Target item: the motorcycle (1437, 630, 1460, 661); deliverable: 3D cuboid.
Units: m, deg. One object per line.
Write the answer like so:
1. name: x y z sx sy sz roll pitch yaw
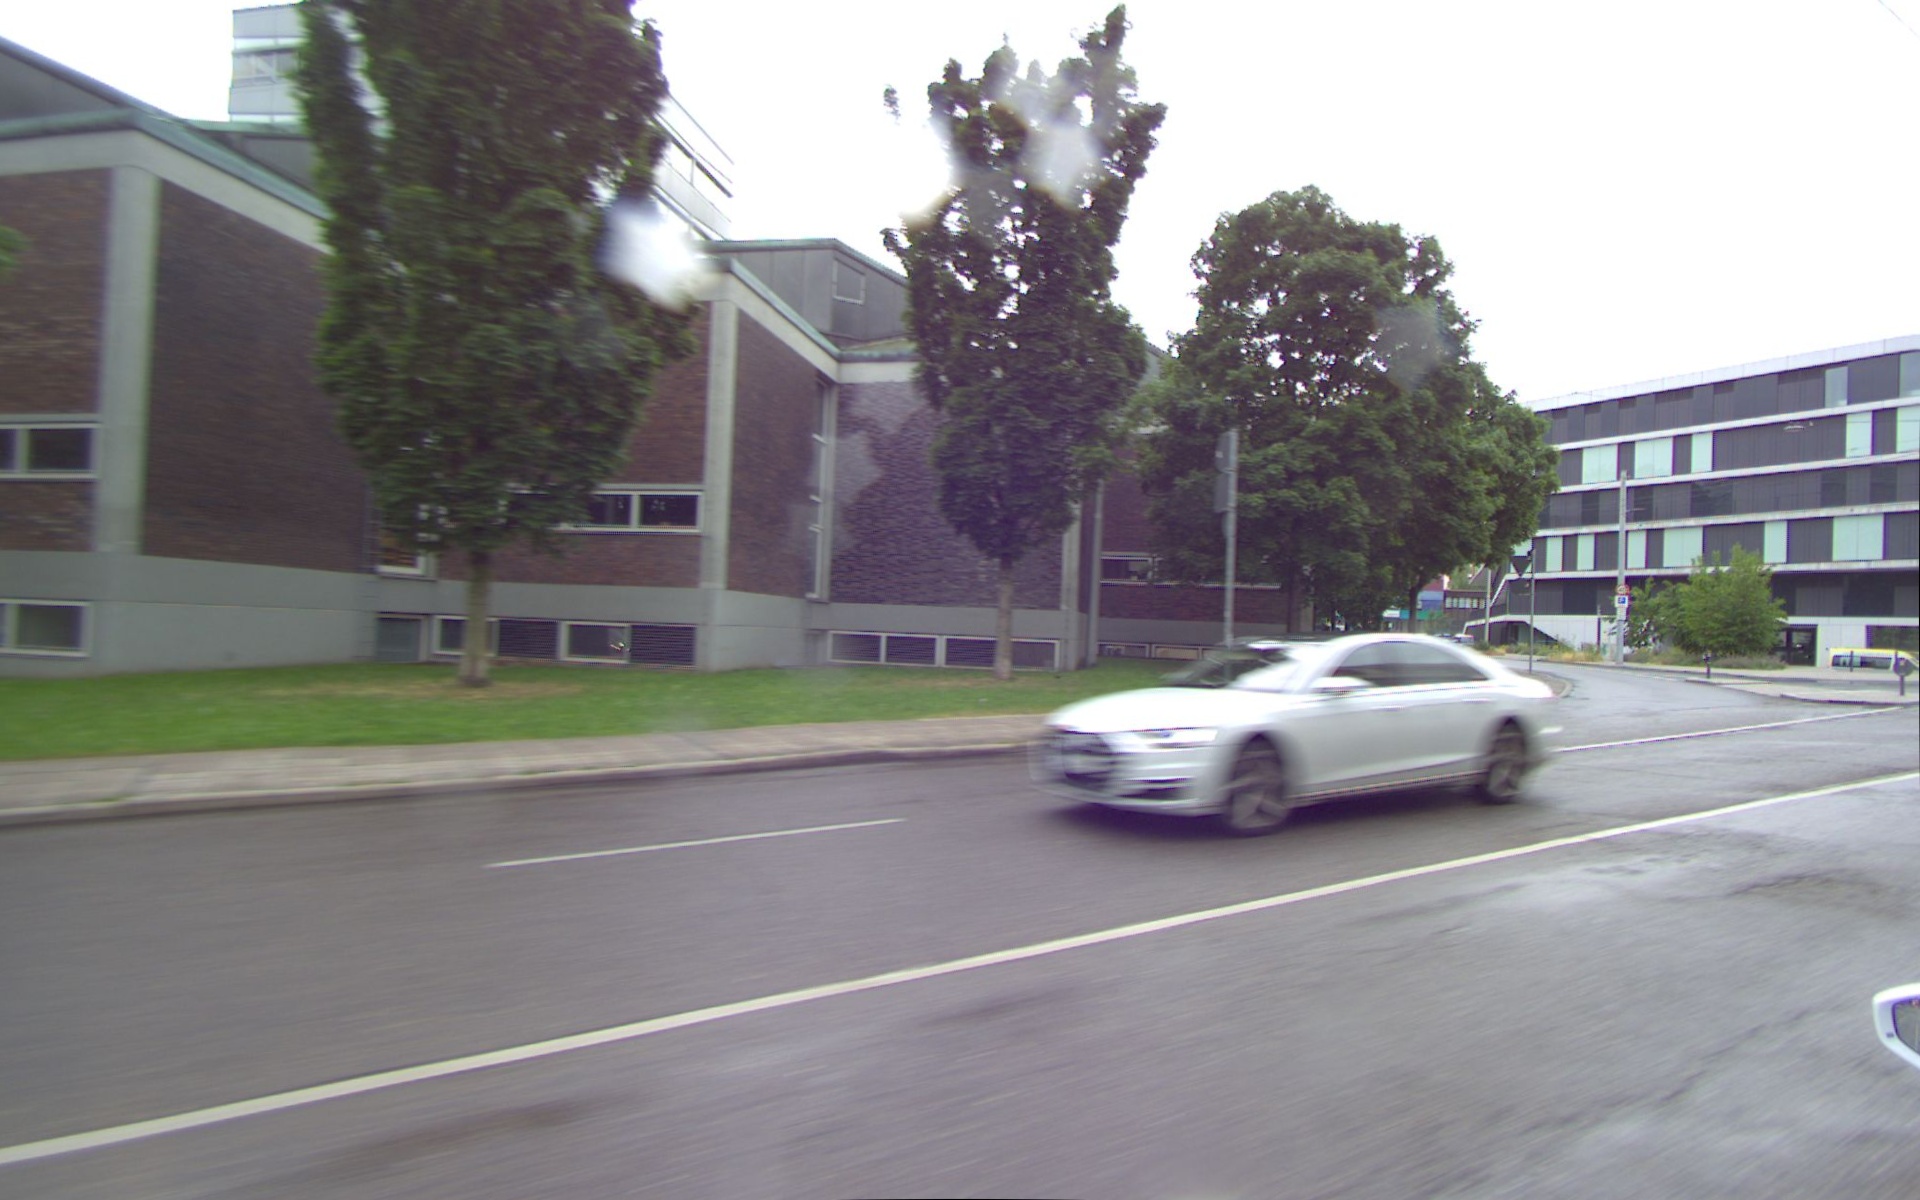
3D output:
1. motorcycle: 19.667 1.821 40.462 0.404 1.200 1.228 2 0 6

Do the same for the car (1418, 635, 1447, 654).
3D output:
1. car: 42.945 4.009 91.323 1.770 1.609 3.680 2 -1 17

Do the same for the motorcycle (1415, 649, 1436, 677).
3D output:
1. motorcycle: 19.719 2.657 42.584 0.404 1.139 1.171 2 -2 6

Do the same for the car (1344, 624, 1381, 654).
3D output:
1. car: 30.456 2.938 76.102 2.035 2.070 4.282 2 -1 15

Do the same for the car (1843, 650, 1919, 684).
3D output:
1. car: 63.598 4.558 68.813 1.580 2.059 4.319 3 -1 -31

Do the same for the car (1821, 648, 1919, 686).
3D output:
1. car: 60.292 4.419 66.588 1.914 2.203 4.556 3 -1 -37

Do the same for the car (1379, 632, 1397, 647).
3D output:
1. car: 47.011 4.353 110.333 1.413 1.514 3.640 1 -1 17

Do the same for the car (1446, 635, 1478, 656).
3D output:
1. car: 40.382 3.653 80.885 1.635 1.469 3.870 2 -1 17

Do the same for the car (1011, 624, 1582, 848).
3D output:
1. car: 3.116 1.022 8.921 5.158 1.510 1.873 2 -3 -30

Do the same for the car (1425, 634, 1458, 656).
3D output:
1. car: 41.590 3.884 86.818 1.883 1.762 4.002 2 -1 17

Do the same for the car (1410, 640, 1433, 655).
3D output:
1. car: 43.713 4.527 95.246 1.451 1.257 3.402 2 -1 17

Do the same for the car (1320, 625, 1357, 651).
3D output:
1. car: 33.704 3.388 89.595 2.125 2.124 4.841 2 -1 10
